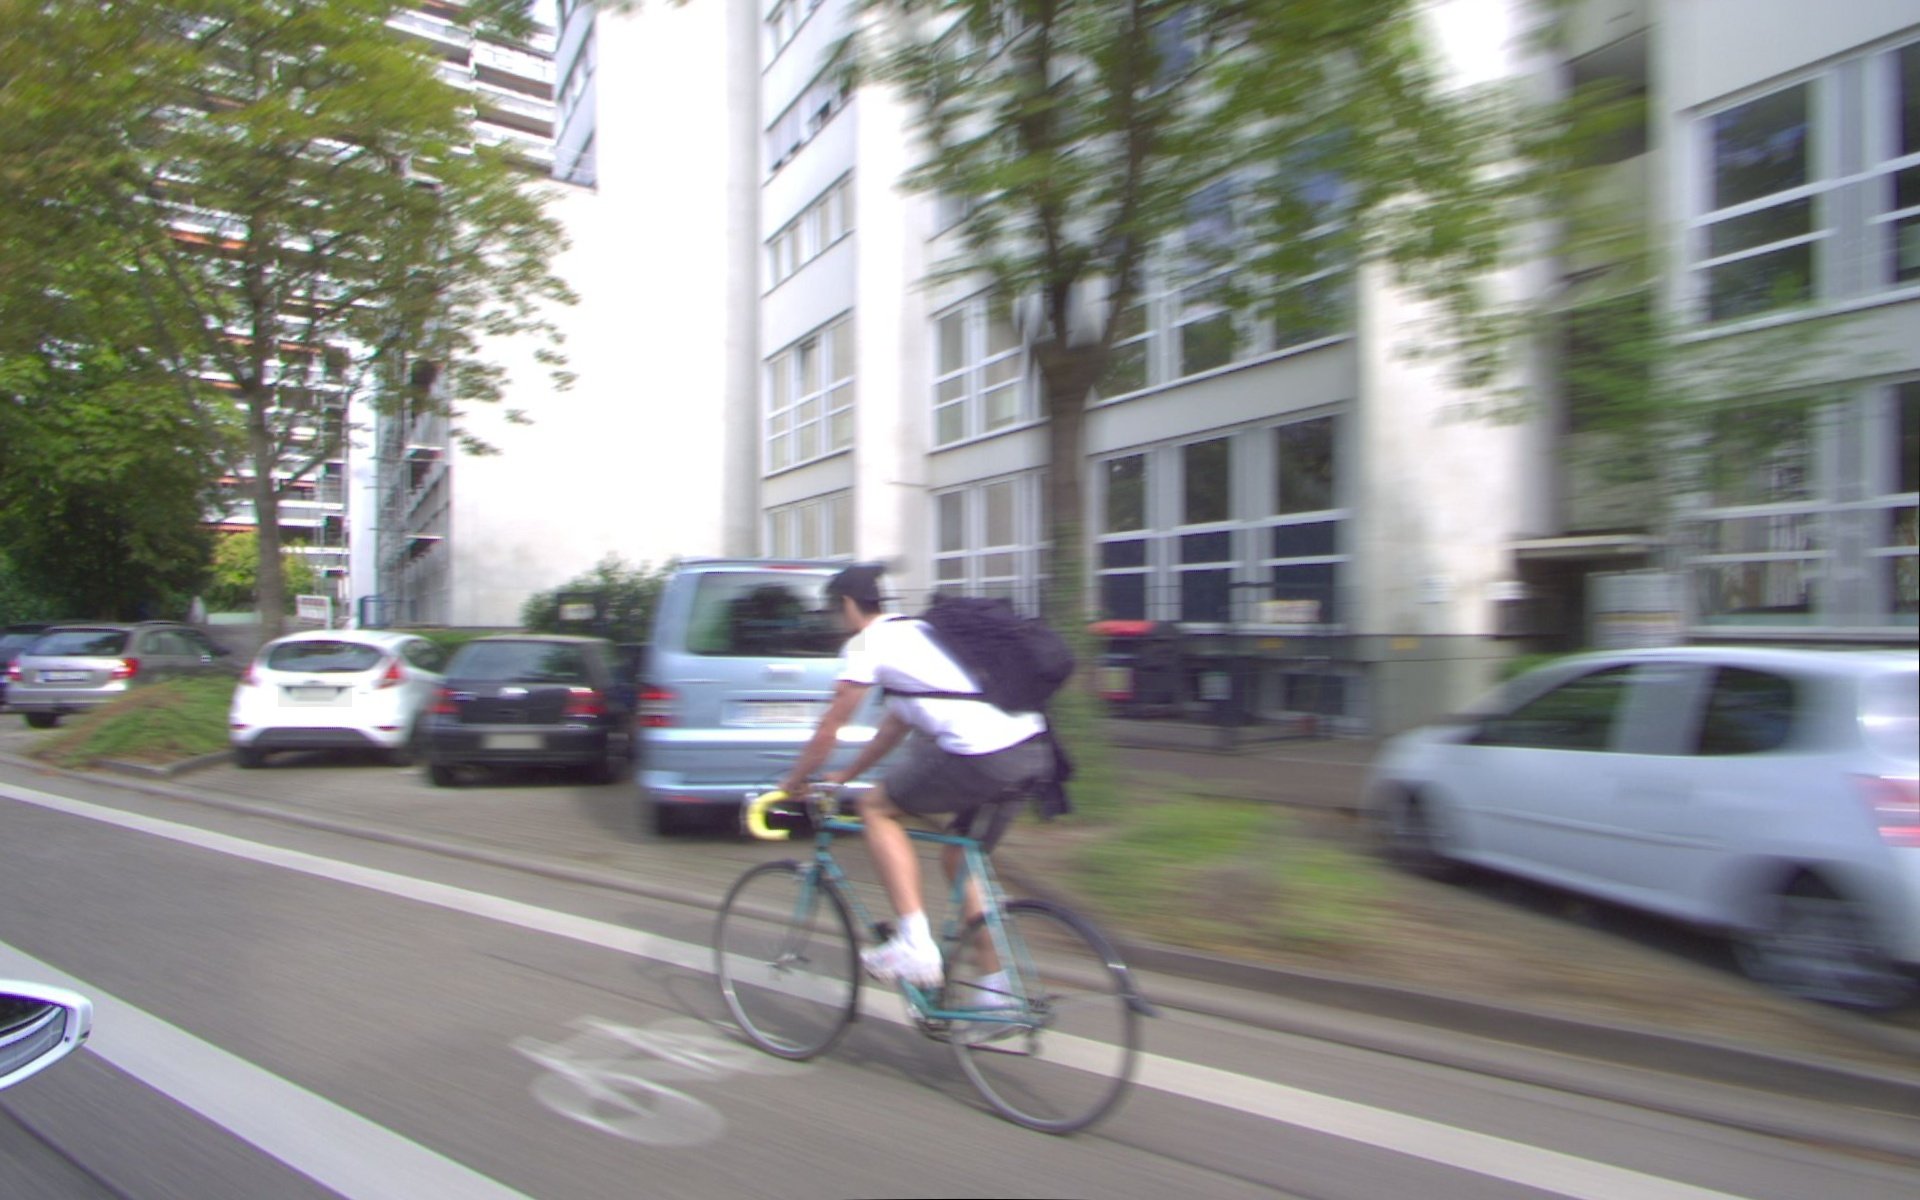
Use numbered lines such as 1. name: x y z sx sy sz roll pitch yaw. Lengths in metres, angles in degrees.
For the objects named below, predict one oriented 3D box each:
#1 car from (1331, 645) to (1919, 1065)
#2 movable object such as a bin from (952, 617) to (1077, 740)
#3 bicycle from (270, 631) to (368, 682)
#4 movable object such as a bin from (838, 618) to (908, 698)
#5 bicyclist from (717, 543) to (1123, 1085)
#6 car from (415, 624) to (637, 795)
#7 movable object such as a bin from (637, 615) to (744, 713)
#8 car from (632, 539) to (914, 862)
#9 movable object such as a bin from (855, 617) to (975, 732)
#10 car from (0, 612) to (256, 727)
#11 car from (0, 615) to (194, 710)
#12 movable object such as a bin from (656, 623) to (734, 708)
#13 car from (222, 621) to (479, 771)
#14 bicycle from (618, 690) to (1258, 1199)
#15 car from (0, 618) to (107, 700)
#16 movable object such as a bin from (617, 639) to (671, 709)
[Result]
1. car: 3.837 0.997 5.418 1.659 1.451 3.713 1 -2 -14
2. movable object such as a bin: 0.735 1.010 13.332 1.304 1.527 1.068 0 -2 32
3. bicycle: -15.491 1.344 24.268 1.944 1.143 0.536 -1 0 -29
4. movable object such as a bin: -1.796 1.174 20.549 1.022 1.582 1.072 2 -2 -35
5. bicyclist: -0.133 0.598 3.328 1.161 1.482 0.657 0 -1 30
6. car: -4.418 1.019 10.728 1.647 1.478 3.824 1 -2 -16
7. movable object such as a bin: -4.425 1.027 16.473 1.315 1.527 1.068 0 -2 32
8. car: -1.691 0.714 8.626 1.798 2.040 4.272 1 -2 -14
9. movable object such as a bin: -0.630 1.014 14.158 1.304 1.527 1.068 0 -2 32
10. car: -12.672 1.007 15.513 1.610 1.542 3.736 1 -2 -14
11. car: -15.700 1.067 18.045 1.610 1.542 3.736 1 -2 -14
12. movable object such as a bin: -4.979 1.210 18.806 1.105 1.542 1.072 2 -2 -35
13. car: -6.984 1.015 11.915 1.611 1.478 3.824 1 -2 -16
14. bicycle: -0.147 0.992 3.347 2.093 1.265 0.657 0 -1 30
15. car: -18.417 1.092 19.187 1.610 1.477 3.736 1 -2 -14
16. movable object such as a bin: -5.298 1.227 16.776 0.566 1.117 0.648 0 -2 40
